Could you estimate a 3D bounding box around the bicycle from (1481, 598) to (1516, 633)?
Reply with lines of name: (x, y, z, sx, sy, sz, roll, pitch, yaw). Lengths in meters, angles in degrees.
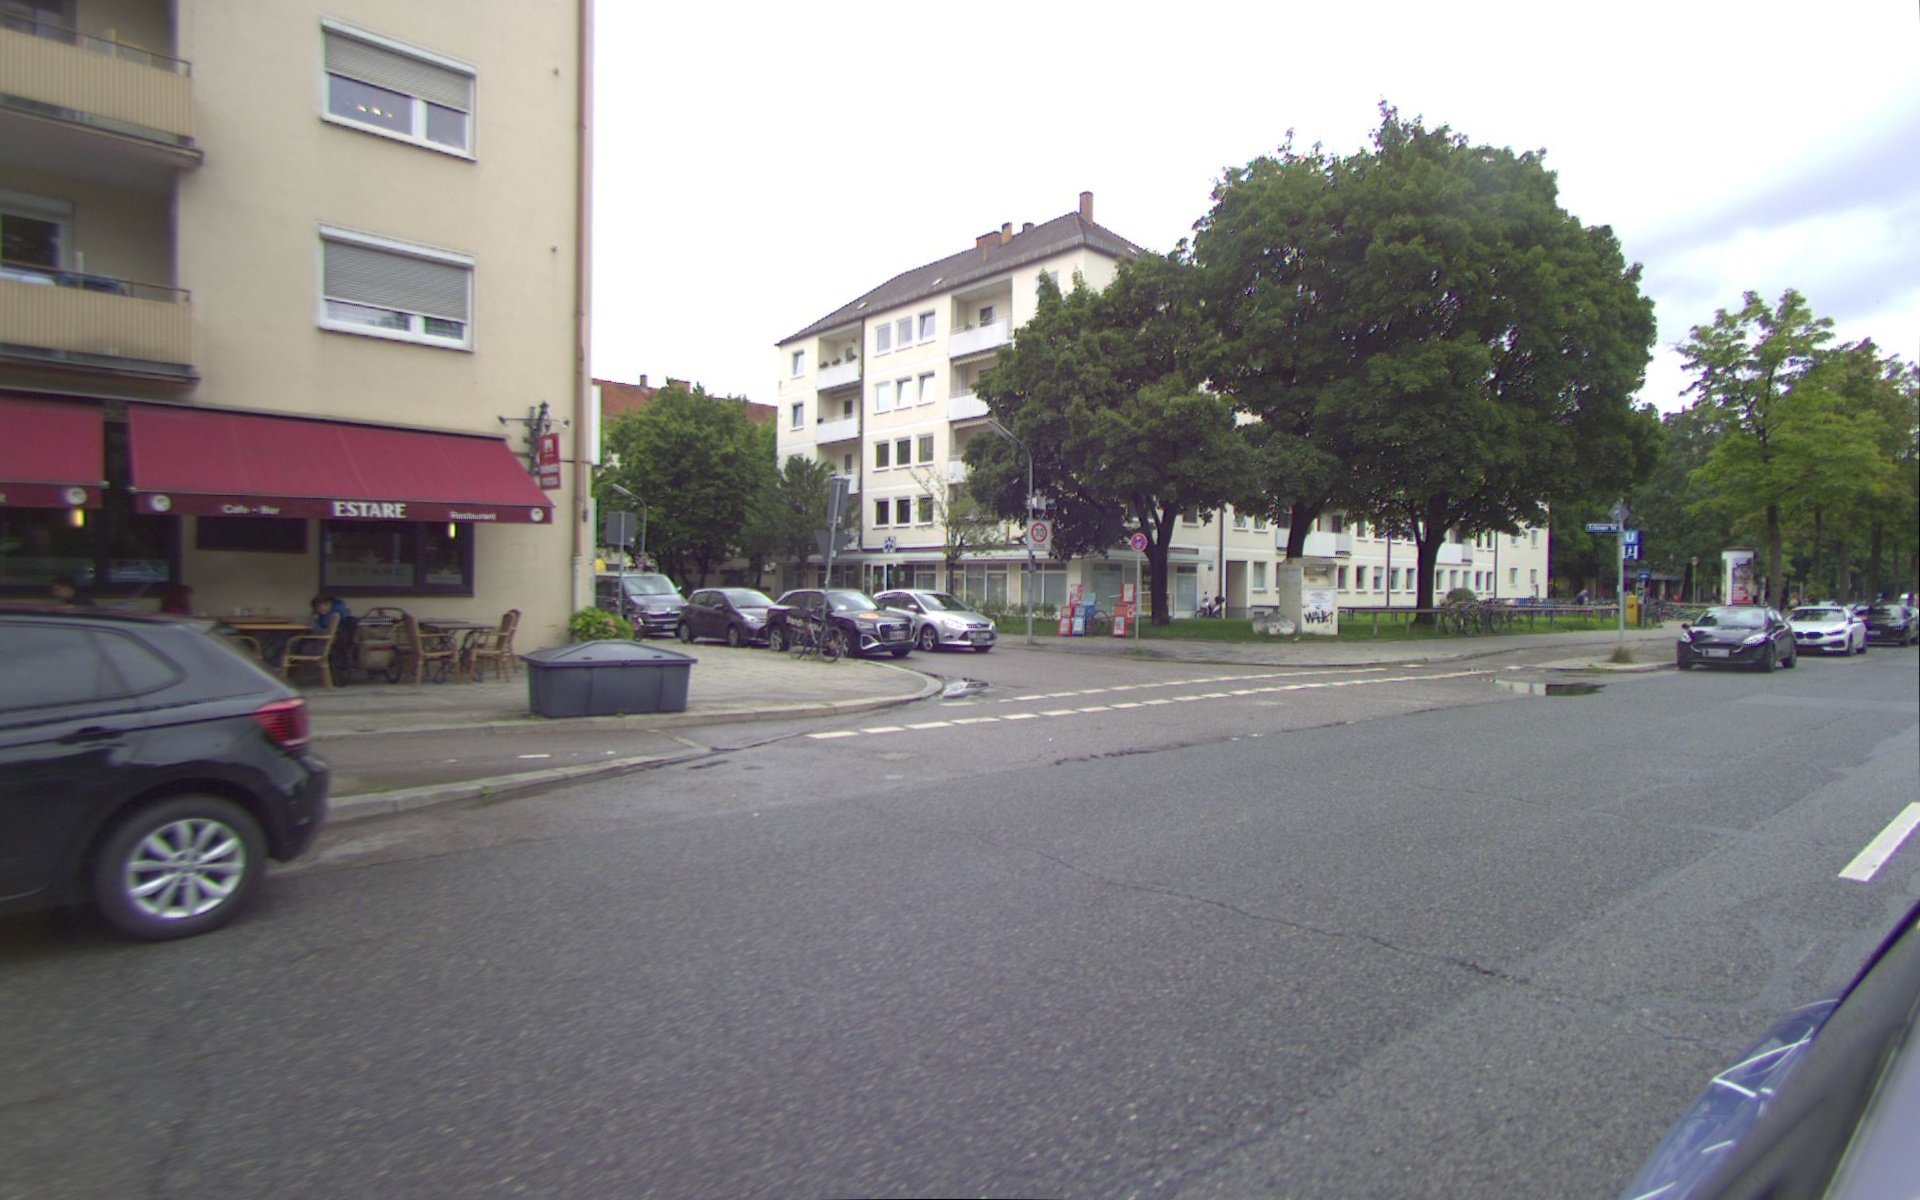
bicycle: (17.431, 0.479, 32.762, 1.739, 1.068, 0.469, -1, 3, -45)

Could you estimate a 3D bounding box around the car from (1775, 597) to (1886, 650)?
car: (25.762, 0.667, 29.899, 4.211, 1.455, 1.824, 0, -1, -40)

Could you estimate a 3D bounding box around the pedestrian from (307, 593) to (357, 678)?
pedestrian: (-8.095, 0.440, 13.049, 0.478, 1.067, 0.539, 0, 0, -40)

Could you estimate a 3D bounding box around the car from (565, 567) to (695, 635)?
car: (-10.075, -0.009, 30.683, 1.965, 1.909, 4.992, 0, 1, -41)

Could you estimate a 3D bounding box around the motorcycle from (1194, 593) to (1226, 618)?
motorcycle: (11.564, 0.241, 46.755, 1.593, 1.134, 0.606, 0, 0, -40)

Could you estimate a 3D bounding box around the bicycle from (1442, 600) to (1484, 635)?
bicycle: (15.384, 0.522, 30.954, 1.820, 1.028, 0.448, 0, 0, -40)

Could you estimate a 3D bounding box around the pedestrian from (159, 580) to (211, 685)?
pedestrian: (-9.329, 0.373, 12.179, 0.478, 1.229, 0.539, 0, 0, -40)

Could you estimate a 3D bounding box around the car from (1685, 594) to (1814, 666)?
car: (17.950, 0.632, 22.963, 3.887, 1.496, 1.646, 1, 0, -42)

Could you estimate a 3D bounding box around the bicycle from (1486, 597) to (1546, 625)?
bicycle: (22.383, 0.428, 40.740, 0.653, 1.081, 2.027, 0, 0, -44)

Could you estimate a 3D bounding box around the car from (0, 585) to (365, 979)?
car: (-4.764, 0.685, 4.016, 1.830, 1.491, 3.825, 1, 1, 45)

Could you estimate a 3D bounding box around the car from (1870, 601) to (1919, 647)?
car: (33.628, 0.805, 35.683, 4.084, 1.530, 1.825, 0, 0, -41)

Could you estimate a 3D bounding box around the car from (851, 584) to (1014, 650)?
car: (-0.756, 0.353, 24.916, 1.963, 1.460, 4.221, 0, 1, -36)

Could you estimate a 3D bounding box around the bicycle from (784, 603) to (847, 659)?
bicycle: (-2.820, 0.574, 19.706, 0.543, 1.023, 1.544, 0, 0, -37)

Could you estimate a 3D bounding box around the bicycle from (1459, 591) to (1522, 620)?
bicycle: (20.247, 0.190, 38.660, 0.653, 1.081, 2.027, 0, 0, -44)

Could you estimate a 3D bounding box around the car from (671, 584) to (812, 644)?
car: (-5.835, 0.309, 26.710, 1.965, 1.460, 3.993, 0, 1, -41)

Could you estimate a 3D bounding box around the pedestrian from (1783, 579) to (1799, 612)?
pedestrian: (45.173, -0.232, 54.997, 0.555, 1.778, 0.650, 0, 0, 30)

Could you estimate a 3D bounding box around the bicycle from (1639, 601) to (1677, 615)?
bicycle: (37.716, 0.416, 54.678, 0.490, 0.645, 1.596, 0, 2, -44)

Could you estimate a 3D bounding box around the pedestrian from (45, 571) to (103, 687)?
pedestrian: (-10.058, 0.314, 11.497, 0.478, 1.284, 0.539, 0, 0, -41)

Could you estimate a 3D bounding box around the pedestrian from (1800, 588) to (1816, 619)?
pedestrian: (45.652, 0.183, 54.500, 0.555, 1.625, 0.515, 0, 0, 30)

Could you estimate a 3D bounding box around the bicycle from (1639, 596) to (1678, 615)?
bicycle: (35.946, 0.284, 52.081, 0.490, 0.927, 1.596, 0, 2, -44)

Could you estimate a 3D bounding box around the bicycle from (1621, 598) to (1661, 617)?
bicycle: (33.989, 0.355, 50.510, 0.490, 0.927, 1.596, 0, 0, -44)

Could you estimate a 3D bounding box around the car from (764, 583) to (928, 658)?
car: (-2.616, 0.389, 22.589, 1.700, 1.539, 3.931, 0, 1, -41)

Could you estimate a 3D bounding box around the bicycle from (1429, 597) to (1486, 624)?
bicycle: (20.898, 0.429, 42.543, 0.653, 1.081, 2.027, 0, 0, -44)

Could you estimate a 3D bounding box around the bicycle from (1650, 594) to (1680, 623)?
bicycle: (30.534, 0.348, 43.792, 2.039, 1.203, 0.545, 0, 0, -40)

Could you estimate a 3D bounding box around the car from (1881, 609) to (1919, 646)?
car: (38.061, 1.075, 40.323, 3.859, 1.397, 1.615, 0, 0, -42)

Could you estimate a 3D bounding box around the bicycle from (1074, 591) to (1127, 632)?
bicycle: (4.228, 0.329, 30.495, 0.687, 1.170, 1.471, 0, 0, -42)

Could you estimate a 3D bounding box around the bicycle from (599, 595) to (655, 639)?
bicycle: (-8.783, 0.429, 26.662, 1.874, 1.098, 0.545, 1, 0, 43)

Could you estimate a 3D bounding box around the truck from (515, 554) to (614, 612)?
truck: (-20.330, -0.903, 51.859, 2.240, 2.805, 6.749, -2, 2, -45)

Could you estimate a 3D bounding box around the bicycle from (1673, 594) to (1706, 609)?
bicycle: (39.478, 0.066, 54.776, 0.490, 0.722, 1.390, 0, 3, -44)

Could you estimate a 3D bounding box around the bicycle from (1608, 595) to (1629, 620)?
bicycle: (30.078, 0.331, 46.206, 1.231, 1.130, 0.466, 0, 0, -40)

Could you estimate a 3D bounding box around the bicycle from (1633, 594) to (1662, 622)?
bicycle: (30.598, 0.339, 45.042, 2.039, 1.203, 0.545, 0, 0, -40)
